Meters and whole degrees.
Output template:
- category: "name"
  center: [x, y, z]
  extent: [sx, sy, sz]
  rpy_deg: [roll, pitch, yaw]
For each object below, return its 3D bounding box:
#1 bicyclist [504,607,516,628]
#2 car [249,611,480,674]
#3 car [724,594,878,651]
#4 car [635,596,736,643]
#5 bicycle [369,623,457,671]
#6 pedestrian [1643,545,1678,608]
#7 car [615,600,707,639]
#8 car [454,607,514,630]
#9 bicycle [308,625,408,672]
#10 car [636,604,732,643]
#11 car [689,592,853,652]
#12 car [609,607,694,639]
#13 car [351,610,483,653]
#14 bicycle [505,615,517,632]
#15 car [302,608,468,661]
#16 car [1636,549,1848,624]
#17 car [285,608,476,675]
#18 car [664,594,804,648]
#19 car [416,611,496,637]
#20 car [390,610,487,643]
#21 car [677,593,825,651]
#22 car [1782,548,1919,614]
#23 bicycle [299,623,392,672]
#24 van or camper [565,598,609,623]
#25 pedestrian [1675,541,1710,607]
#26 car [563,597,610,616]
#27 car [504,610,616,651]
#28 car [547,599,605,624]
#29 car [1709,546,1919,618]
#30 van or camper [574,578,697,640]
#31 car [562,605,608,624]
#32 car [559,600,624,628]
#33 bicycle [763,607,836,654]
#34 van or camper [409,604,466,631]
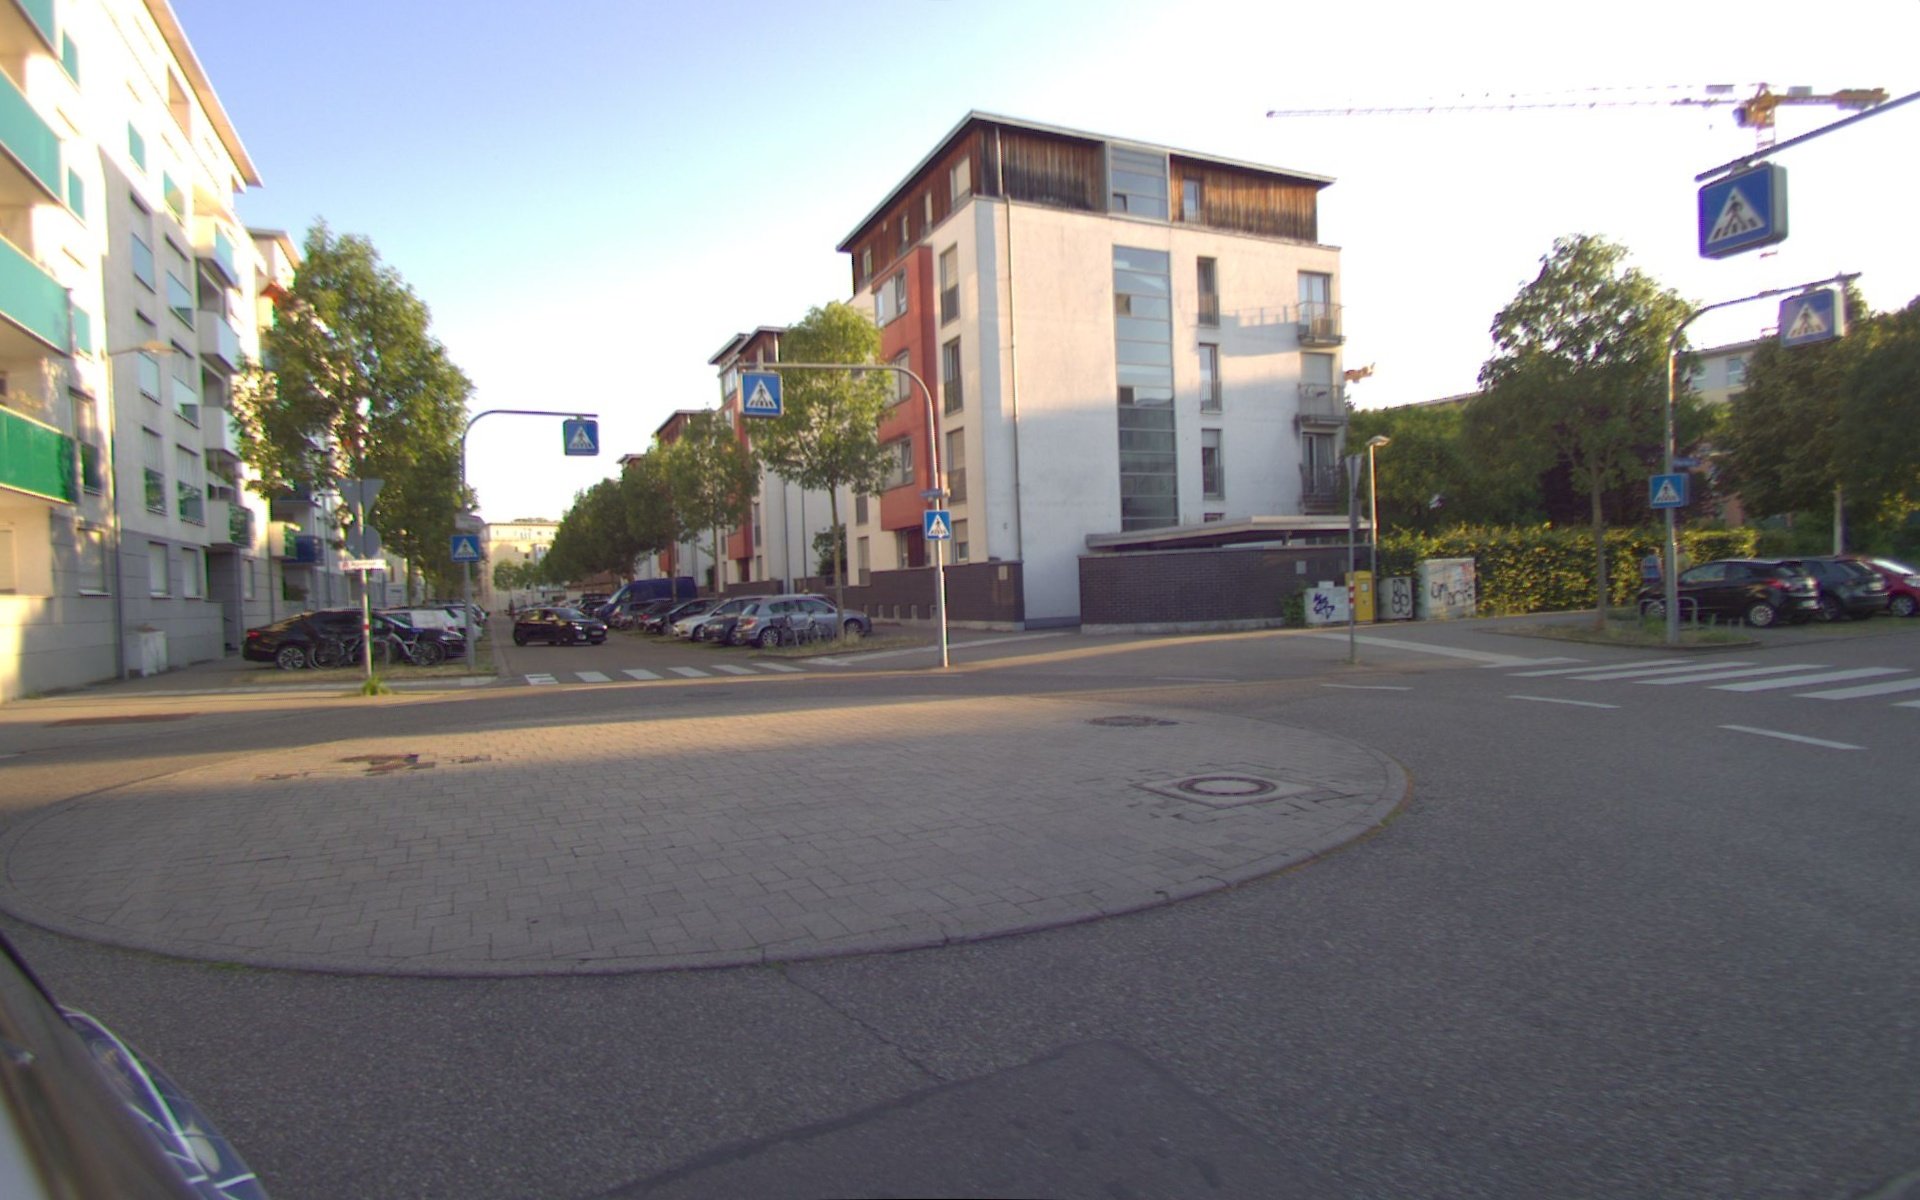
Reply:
- category: "bicyclist"
  center: [-35.496, 1.365, 79.881]
  extent: [0.754, 1.639, 0.665]
  rpy_deg: [-3, 0, -26]
- category: "car"
  center: [-14.854, 1.019, 25.604]
  extent: [4.806, 1.469, 1.944]
  rpy_deg: [0, -1, -23]
- category: "car"
  center: [-4.782, 0.660, 30.521]
  extent: [4.220, 1.468, 1.686]
  rpy_deg: [-3, 0, -27]
- category: "car"
  center: [-11.902, 0.833, 43.956]
  extent: [3.854, 1.723, 1.729]
  rpy_deg: [-4, 1, -29]
- category: "bicycle"
  center: [-12.910, 1.099, 23.920]
  extent: [1.808, 1.080, 0.475]
  rpy_deg: [0, -2, -29]
- category: "pedestrian"
  center: [18.656, -0.626, 26.957]
  extent: [0.656, 1.611, 0.703]
  rpy_deg: [-3, 2, 40]
- category: "car"
  center: [-14.901, 0.946, 50.488]
  extent: [4.034, 1.637, 1.729]
  rpy_deg: [-4, 1, -29]
- category: "car"
  center: [-37.112, 1.417, 79.014]
  extent: [4.180, 1.792, 1.698]
  rpy_deg: [0, -1, -23]
- category: "bicycle"
  center: [-14.152, 1.136, 23.836]
  extent: [2.000, 1.054, 0.475]
  rpy_deg: [0, -2, -29]
- category: "car"
  center: [-12.583, 1.053, 46.228]
  extent: [3.854, 1.526, 1.729]
  rpy_deg: [-4, 1, -29]
- category: "car"
  center: [-6.086, 0.671, 32.757]
  extent: [4.835, 1.489, 1.716]
  rpy_deg: [-5, 1, -27]
- category: "car"
  center: [-16.238, 1.179, 53.288]
  extent: [4.033, 1.638, 1.729]
  rpy_deg: [0, -1, -29]
- category: "car"
  center: [-20.006, 1.127, 37.419]
  extent: [4.222, 1.519, 1.691]
  rpy_deg: [0, -1, -28]
- category: "bicycle"
  center: [-35.486, 1.845, 79.916]
  extent: [0.759, 1.276, 1.787]
  rpy_deg: [-3, 0, -26]
- category: "car"
  center: [-17.170, 1.007, 30.473]
  extent: [4.222, 1.505, 1.748]
  rpy_deg: [0, -1, -25]
- category: "car"
  center: [17.779, -0.297, 23.175]
  extent: [1.662, 1.533, 3.422]
  rpy_deg: [-3, 1, -23]
- category: "car"
  center: [-15.977, 1.124, 28.162]
  extent: [4.340, 1.519, 1.748]
  rpy_deg: [-3, 0, -21]
- category: "car"
  center: [-8.361, 0.756, 37.556]
  extent: [4.681, 1.596, 1.764]
  rpy_deg: [-5, 1, -29]
- category: "car"
  center: [-30.024, 1.419, 60.412]
  extent: [4.180, 1.548, 1.698]
  rpy_deg: [0, -1, -23]
- category: "car"
  center: [-24.889, 1.267, 48.345]
  extent: [4.033, 1.520, 1.671]
  rpy_deg: [0, -1, -29]
- category: "car"
  center: [-7.246, 0.720, 35.076]
  extent: [4.707, 1.566, 1.716]
  rpy_deg: [-5, 1, -21]
- category: "car"
  center: [22.383, -0.476, 24.535]
  extent: [1.567, 1.511, 3.422]
  rpy_deg: [-3, 1, -23]
- category: "bicycle"
  center: [-13.794, 1.053, 22.779]
  extent: [1.762, 1.050, 0.569]
  rpy_deg: [0, -2, -29]
- category: "van or camper"
  center: [-39.091, 1.130, 106.086]
  extent: [4.180, 2.554, 1.766]
  rpy_deg: [0, -1, -24]
- category: "pedestrian"
  center: [19.261, -0.677, 26.619]
  extent: [0.624, 1.679, 0.733]
  rpy_deg: [-3, 2, 41]
- category: "car"
  center: [-35.544, 0.651, 96.308]
  extent: [4.180, 1.800, 1.698]
  rpy_deg: [0, -1, -23]
- category: "car"
  center: [-15.215, 1.149, 38.481]
  extent: [4.160, 1.474, 1.761]
  rpy_deg: [-1, -1, 29]
- category: "car"
  center: [-30.367, 0.916, 80.115]
  extent: [4.180, 1.945, 1.698]
  rpy_deg: [0, -1, -26]
- category: "car"
  center: [19.950, -0.397, 23.779]
  extent: [1.567, 1.511, 3.422]
  rpy_deg: [-3, 1, -23]
- category: "van or camper"
  center: [-18.532, 0.478, 57.908]
  extent: [6.210, 3.110, 2.450]
  rpy_deg: [-4, 1, -29]
- category: "car"
  center: [-37.534, 1.449, 101.232]
  extent: [4.180, 1.800, 1.698]
  rpy_deg: [0, -1, -23]
- category: "car"
  center: [-25.959, 1.003, 71.344]
  extent: [4.180, 1.945, 1.698]
  rpy_deg: [0, -1, -26]
- category: "bicycle"
  center: [-4.364, 0.820, 27.625]
  extent: [1.792, 1.074, 0.569]
  rpy_deg: [-6, 1, -27]
- category: "van or camper"
  center: [-43.732, 1.486, 84.819]
  extent: [4.180, 2.228, 1.698]
  rpy_deg: [0, -1, -25]
